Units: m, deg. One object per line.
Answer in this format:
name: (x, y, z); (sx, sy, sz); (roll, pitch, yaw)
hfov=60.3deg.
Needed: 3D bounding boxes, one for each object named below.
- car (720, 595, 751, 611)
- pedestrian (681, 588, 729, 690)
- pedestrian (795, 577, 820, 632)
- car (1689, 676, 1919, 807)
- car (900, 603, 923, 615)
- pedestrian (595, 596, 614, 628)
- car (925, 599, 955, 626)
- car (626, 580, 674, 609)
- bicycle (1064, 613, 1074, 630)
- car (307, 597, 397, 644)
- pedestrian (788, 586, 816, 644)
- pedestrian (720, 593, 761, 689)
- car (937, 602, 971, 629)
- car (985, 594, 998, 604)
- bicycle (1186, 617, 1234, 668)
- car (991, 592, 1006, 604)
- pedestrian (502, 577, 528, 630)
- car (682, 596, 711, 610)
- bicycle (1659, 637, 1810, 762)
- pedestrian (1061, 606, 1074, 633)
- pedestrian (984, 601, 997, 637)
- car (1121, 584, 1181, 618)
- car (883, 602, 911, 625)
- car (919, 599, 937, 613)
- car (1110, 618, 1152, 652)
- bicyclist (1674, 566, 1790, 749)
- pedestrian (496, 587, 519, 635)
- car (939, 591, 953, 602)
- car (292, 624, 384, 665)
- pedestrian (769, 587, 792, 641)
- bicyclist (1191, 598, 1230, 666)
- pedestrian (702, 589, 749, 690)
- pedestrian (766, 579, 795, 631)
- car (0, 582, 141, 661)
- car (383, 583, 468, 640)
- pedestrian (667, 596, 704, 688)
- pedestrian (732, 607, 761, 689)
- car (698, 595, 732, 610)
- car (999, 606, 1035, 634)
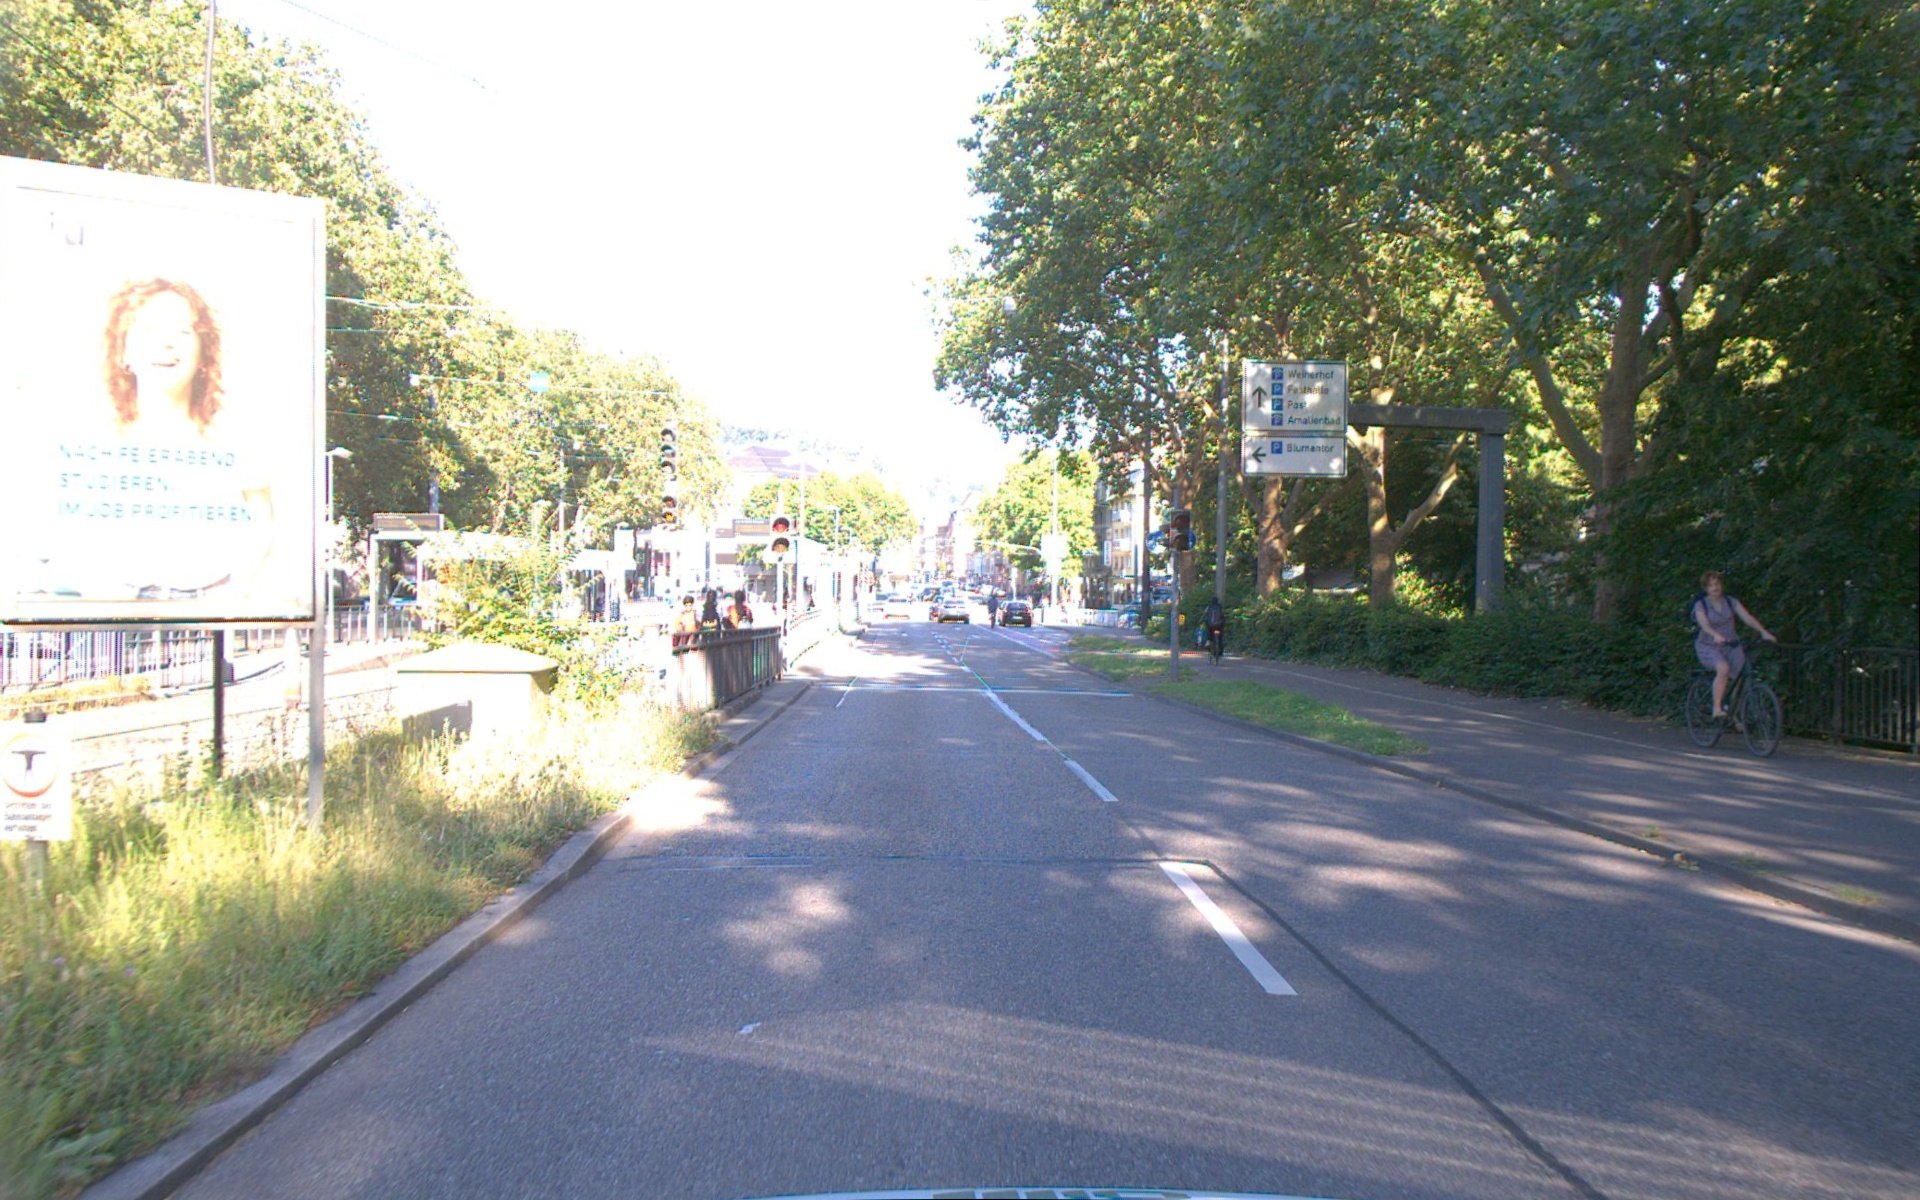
car: (-25.338, 0.330, 186.911); (1.881, 1.678, 4.182); (1, 0, 18)
pedestrian: (-4.016, 0.613, 26.071); (0.510, 1.595, 0.507); (-2, -1, 28)
pedestrian: (-5.269, 0.159, 57.124); (0.637, 1.873, 0.711); (2, -1, 7)
car: (14.449, 2.354, 28.448); (1.865, 1.844, 4.097); (2, 0, -2)
car: (-6.141, 1.138, 210.673); (1.756, 1.537, 4.002); (1, -1, 16)
pedestrian: (-15.586, 0.526, 72.569); (0.656, 1.348, 0.756); (-2, 0, -4)
car: (-1.346, 0.823, 108.204); (1.764, 1.666, 4.043); (1, 0, -3)
car: (-35.748, -0.601, 191.080); (2.444, 3.220, 6.536); (1, 0, 20)
bicycle: (7.359, 1.449, 111.617); (0.488, 1.093, 1.799); (2, -1, -2)
car: (-21.047, 0.699, 57.429); (1.759, 1.537, 4.338); (-1, -1, -4)
pedestrian: (-4.786, 0.459, 50.258); (0.727, 1.724, 0.791); (2, -1, -2)
pedestrian: (-3.595, 0.671, 27.092); (0.578, 1.546, 0.514); (-1, -1, -2)
car: (-0.394, 0.926, 100.819); (1.890, 1.498, 4.852); (1, 0, -2)
car: (4.927, -0.083, 261.406); (1.758, 1.537, 3.998); (1, 0, -3)
bicycle: (5.802, 0.978, 38.493); (0.751, 1.127, 1.799); (1, 0, -3)
car: (5.889, -0.341, 254.918); (2.063, 1.807, 4.339); (1, 0, -3)
pedestrian: (-15.256, 0.127, 56.712); (0.635, 1.803, 0.650); (2, -1, 0)
car: (-30.170, 0.336, 189.423); (1.756, 1.537, 4.012); (1, 0, 16)
bicycle: (7.699, 0.958, 16.544); (0.684, 1.127, 1.931); (1, 0, 3)
pedestrian: (6.682, 1.221, 102.852); (0.634, 1.590, 0.632); (3, 0, 16)
pedestrian: (1.653, 1.026, 88.868); (0.644, 1.904, 0.677); (1, 0, -3)
car: (16.375, 0.097, 141.801); (4.907, 2.791, 2.075); (2, -1, 12)
car: (-4.193, 0.889, 109.844); (1.772, 1.478, 3.998); (2, 0, -3)
car: (-4.200, 0.769, 218.199); (1.756, 1.858, 4.003); (1, 0, 8)
car: (10.243, 2.092, 99.342); (1.759, 1.931, 4.355); (2, -1, -4)
bicyclist: (7.707, 0.557, 16.548); (0.684, 1.758, 1.080); (1, 0, 3)
pedestrian: (-15.302, 0.370, 55.936); (0.581, 1.571, 0.626); (2, -1, -2)
car: (-1.956, -0.443, 232.919); (1.759, 1.537, 3.997); (1, 0, -4)
car: (-21.042, 1.486, 56.124); (1.735, 1.314, 4.311); (-1, -1, -4)
pedestrian: (-5.432, 0.426, 50.120); (0.576, 1.594, 0.650); (2, -1, -2)
bicyclist: (5.804, 0.734, 38.329); (0.751, 1.539, 0.650); (1, 0, -3)
pedestrian: (-3.757, 0.628, 26.489); (0.510, 1.595, 0.507); (-2, -1, 28)
pedestrian: (-6.119, 0.173, 56.408); (0.647, 1.752, 0.701); (3, -1, -38)
car: (-20.391, 0.496, 37.571); (1.866, 1.681, 3.968); (-1, -1, -5)
car: (-21.327, 0.471, 66.160); (2.026, 2.162, 5.086); (-1, -1, -4)
pedestrian: (-4.529, 0.694, 27.331); (0.509, 1.498, 0.514); (-1, -1, -1)
pedestrian: (-3.556, 0.791, 27.563); (0.407, 1.344, 0.359); (-1, -1, -2)
car: (-27.771, 0.298, 187.512); (1.759, 1.678, 4.006); (1, 0, 26)
car: (3.277, 1.142, 95.927); (1.764, 1.464, 4.043); (2, 0, -3)
